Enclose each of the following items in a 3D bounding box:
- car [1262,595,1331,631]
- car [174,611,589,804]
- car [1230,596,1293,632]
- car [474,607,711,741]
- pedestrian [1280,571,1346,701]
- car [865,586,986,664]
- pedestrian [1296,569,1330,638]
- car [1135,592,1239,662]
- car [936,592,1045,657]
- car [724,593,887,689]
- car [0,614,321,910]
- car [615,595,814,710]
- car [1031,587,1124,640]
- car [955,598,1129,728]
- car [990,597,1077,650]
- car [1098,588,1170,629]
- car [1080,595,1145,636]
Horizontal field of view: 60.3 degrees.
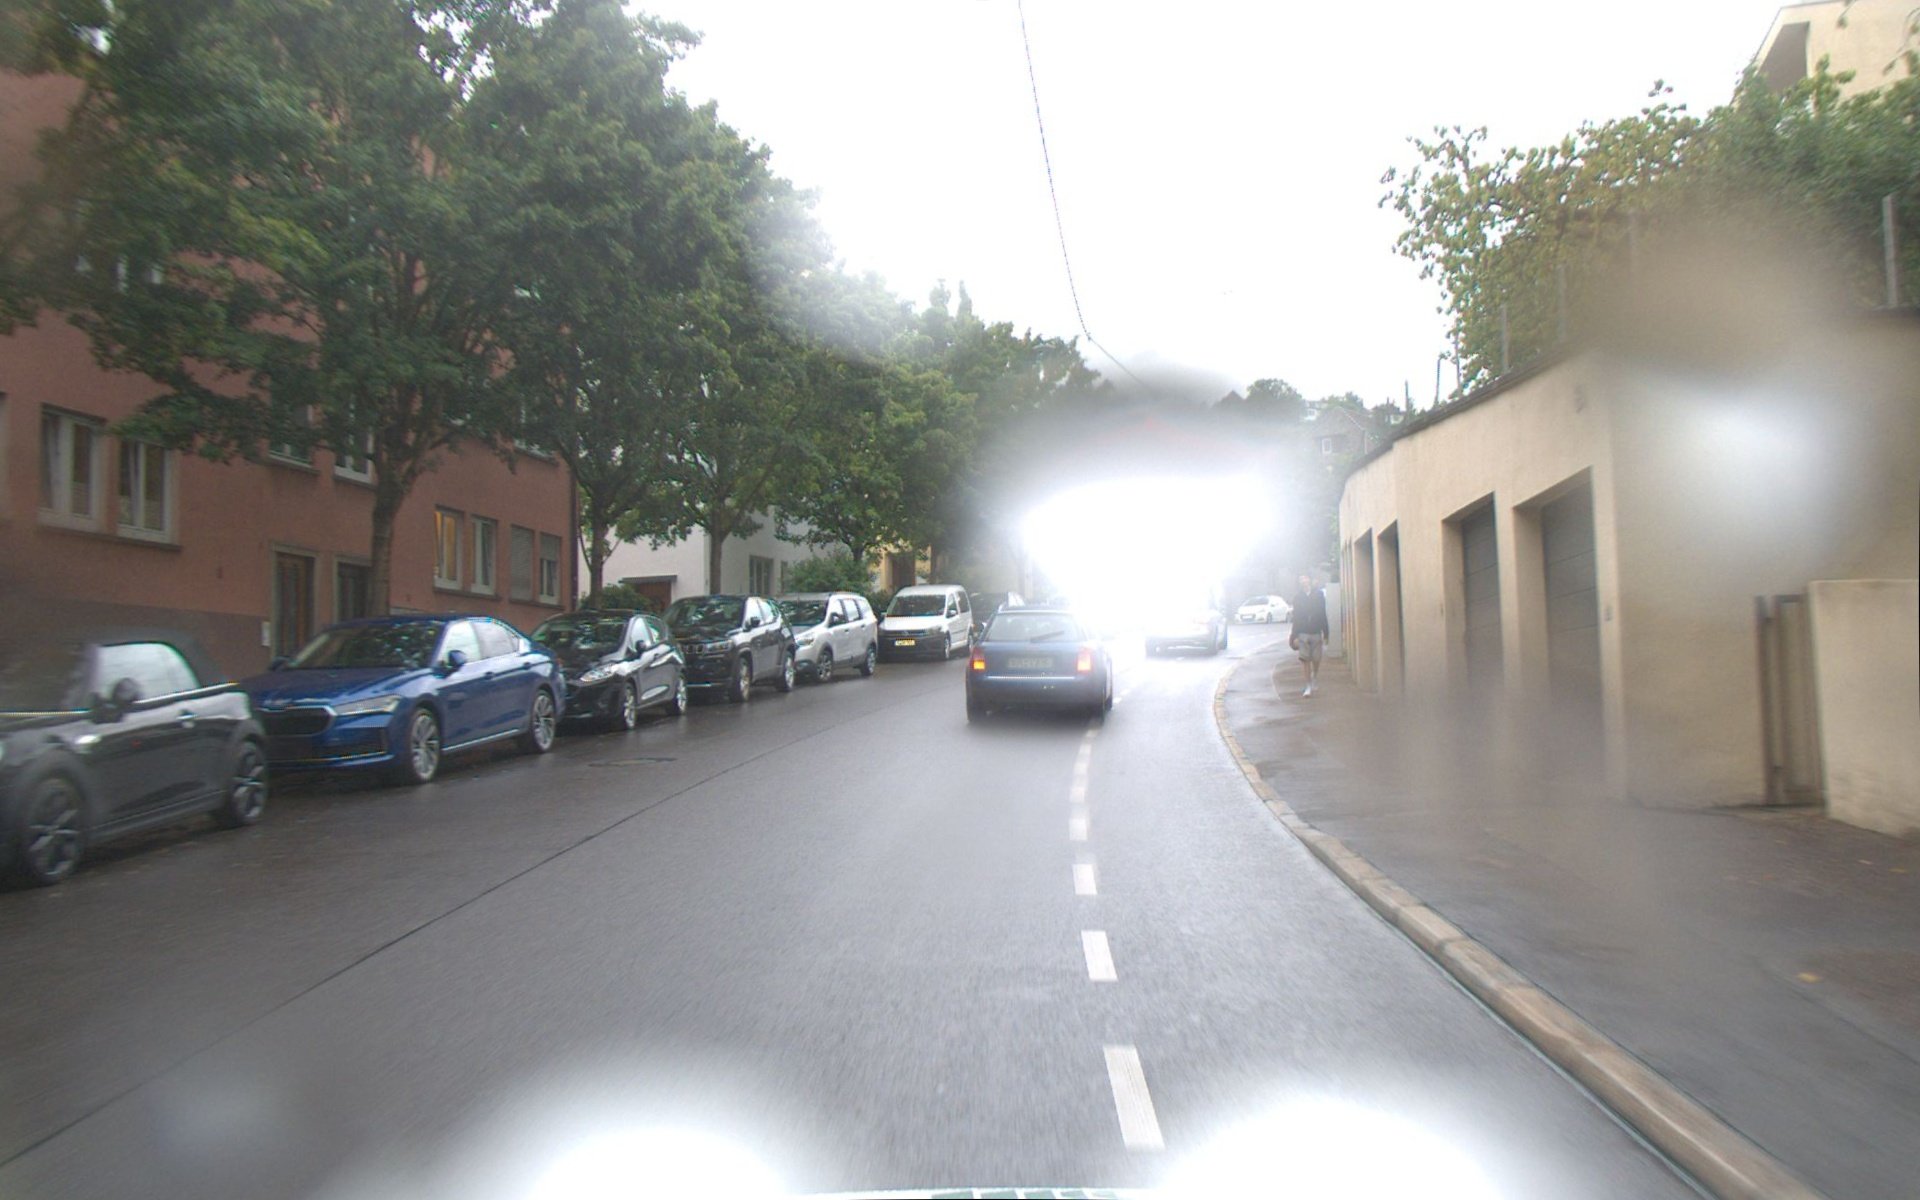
[{"bbox_3d":[17.456,0.703,85.762,1.755,1.675,4.329,-6,-4,36],"label":"car"},{"bbox_3d":[-5.280,0.896,15.919,1.749,1.519,4.865,-1,0,7],"label":"car"},{"bbox_3d":[14.771,0.695,80.952,1.750,1.541,4.339,-6,-4,27],"label":"car"},{"bbox_3d":[-4.653,0.878,21.588,1.749,1.519,4.364,-1,0,5],"label":"car"},{"bbox_3d":[5.240,0.523,24.578,0.880,1.883,0.803,-1,-1,9],"label":"pedestrian"},{"bbox_3d":[-0.795,0.586,41.380,1.814,1.808,4.486,-1,0,15],"label":"car"},{"bbox_3d":[9.463,0.090,44.340,0.758,1.789,1.012,-3,-1,14],"label":"pedestrian"},{"bbox_3d":[5.729,0.625,41.379,1.909,1.588,4.266,1,1,17],"label":"car"},{"bbox_3d":[0.916,0.658,46.587,1.815,1.697,4.590,-2,0,18],"label":"car"},{"bbox_3d":[-2.942,0.751,32.472,1.709,1.720,4.604,-1,0,14],"label":"car"},{"bbox_3d":[-5.834,0.881,10.422,1.750,1.519,4.363,-1,0,2],"label":"car"},{"bbox_3d":[-3.811,0.771,26.519,1.749,1.670,4.484,-1,0,11],"label":"car"},{"bbox_3d":[4.104,0.447,57.128,1.816,1.720,4.554,-1,0,23],"label":"car"},{"bbox_3d":[1.172,0.745,21.401,1.814,1.438,4.365,-3,-1,8],"label":"car"},{"bbox_3d":[2.351,0.691,51.578,1.814,1.525,4.745,-1,0,14],"label":"car"},{"bbox_3d":[7.061,0.323,66.657,1.738,1.567,4.516,-1,0,22],"label":"car"},{"bbox_3d":[5.769,0.552,62.018,1.580,1.421,4.325,-2,0,16],"label":"car"}]
